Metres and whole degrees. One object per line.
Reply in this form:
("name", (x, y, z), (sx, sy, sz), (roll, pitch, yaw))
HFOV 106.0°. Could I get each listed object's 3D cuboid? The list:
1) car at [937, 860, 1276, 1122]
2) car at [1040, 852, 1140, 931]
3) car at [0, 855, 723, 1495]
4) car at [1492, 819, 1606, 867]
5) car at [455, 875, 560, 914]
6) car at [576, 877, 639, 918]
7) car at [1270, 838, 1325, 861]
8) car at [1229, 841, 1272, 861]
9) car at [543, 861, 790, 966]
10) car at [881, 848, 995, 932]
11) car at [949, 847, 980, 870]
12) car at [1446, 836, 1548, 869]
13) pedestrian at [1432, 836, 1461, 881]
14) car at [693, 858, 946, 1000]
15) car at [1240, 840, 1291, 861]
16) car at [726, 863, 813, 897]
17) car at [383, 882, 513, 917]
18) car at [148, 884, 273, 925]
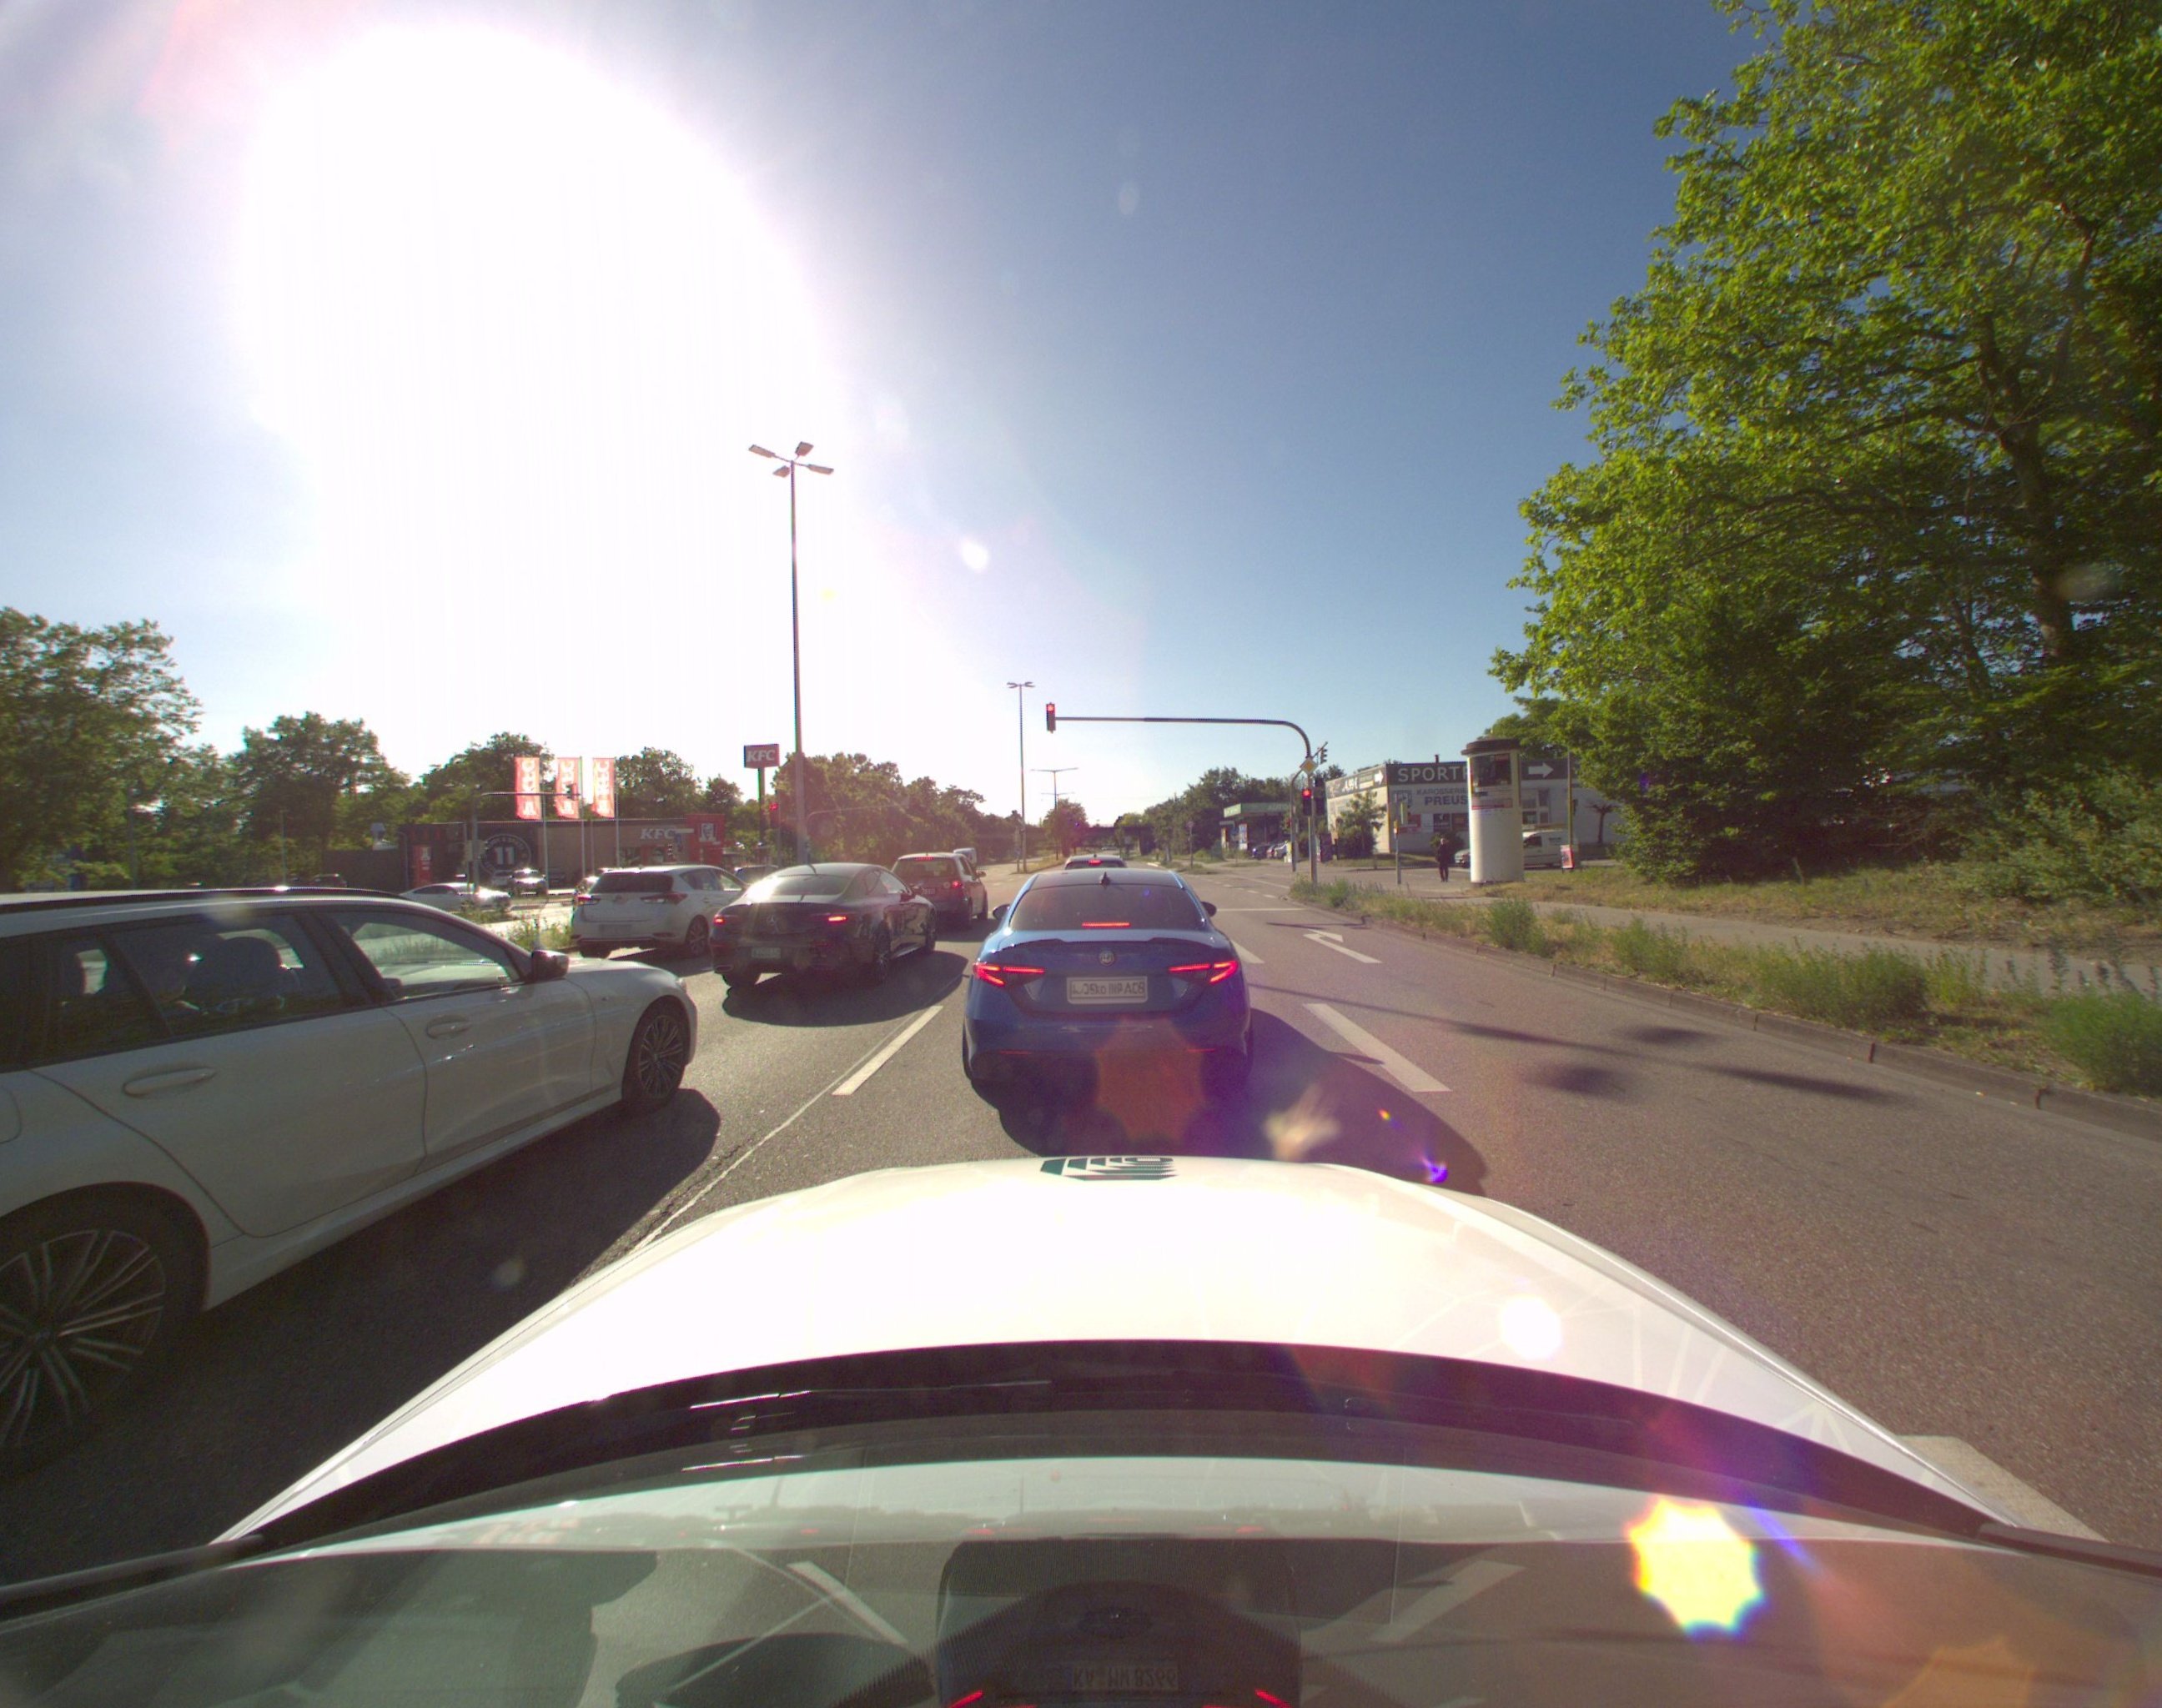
("car", (0.202, 0.782, 6.498), (1.859, 1.385, 3.933), (-1, 0, 2))
("car", (0.233, 0.695, 17.203), (1.859, 1.450, 3.933), (-1, 0, 2))
("car", (-3.429, 0.792, 3.367), (1.762, 1.509, 4.463), (-1, 0, 2))
("car", (22.635, -0.526, 39.470), (4.393, 2.145, 1.999), (-1, 0, -2))
("car", (-29.100, 2.050, 41.392), (4.020, 1.782, 1.826), (-1, 0, 3))
("car", (-19.248, 1.739, 33.014), (1.833, 1.429, 4.006), (-3, 0, -35))
("car", (17.516, -0.367, 65.871), (3.993, 1.706, 1.687), (-1, 0, -15))
("car", (15.389, -0.262, 73.973), (3.489, 1.706, 1.687), (-1, 0, -14))
("car", (-6.830, 0.884, 14.065), (1.850, 1.429, 4.405), (-1, 0, 2))
("car", (-2.983, 0.692, 17.761), (1.642, 1.598, 3.933), (-1, 0, 2))
("car", (-13.085, 0.499, 91.647), (2.422, 2.427, 5.833), (-1, 0, 2))
("car", (21.956, -0.086, 43.069), (4.393, 1.553, 1.999), (-1, 0, -2))
("pedestrian", (14.277, 0.175, 31.808), (0.818, 1.721, 0.856), (-2, 0, 9))
("car", (-3.142, 0.807, 10.840), (1.762, 1.414, 4.463), (-1, 0, 2))
("car", (16.046, -0.298, 70.765), (3.997, 1.706, 1.685), (-1, 0, -18))
("car", (-16.433, 1.361, 43.170), (4.042, 1.595, 1.816), (-1, 0, -13))
("car", (-29.404, 2.099, 37.899), (4.699, 1.429, 1.866), (-1, 0, 4))
("car", (-40.900, 2.362, 38.307), (3.972, 1.728, 1.759), (-1, 0, 1))
